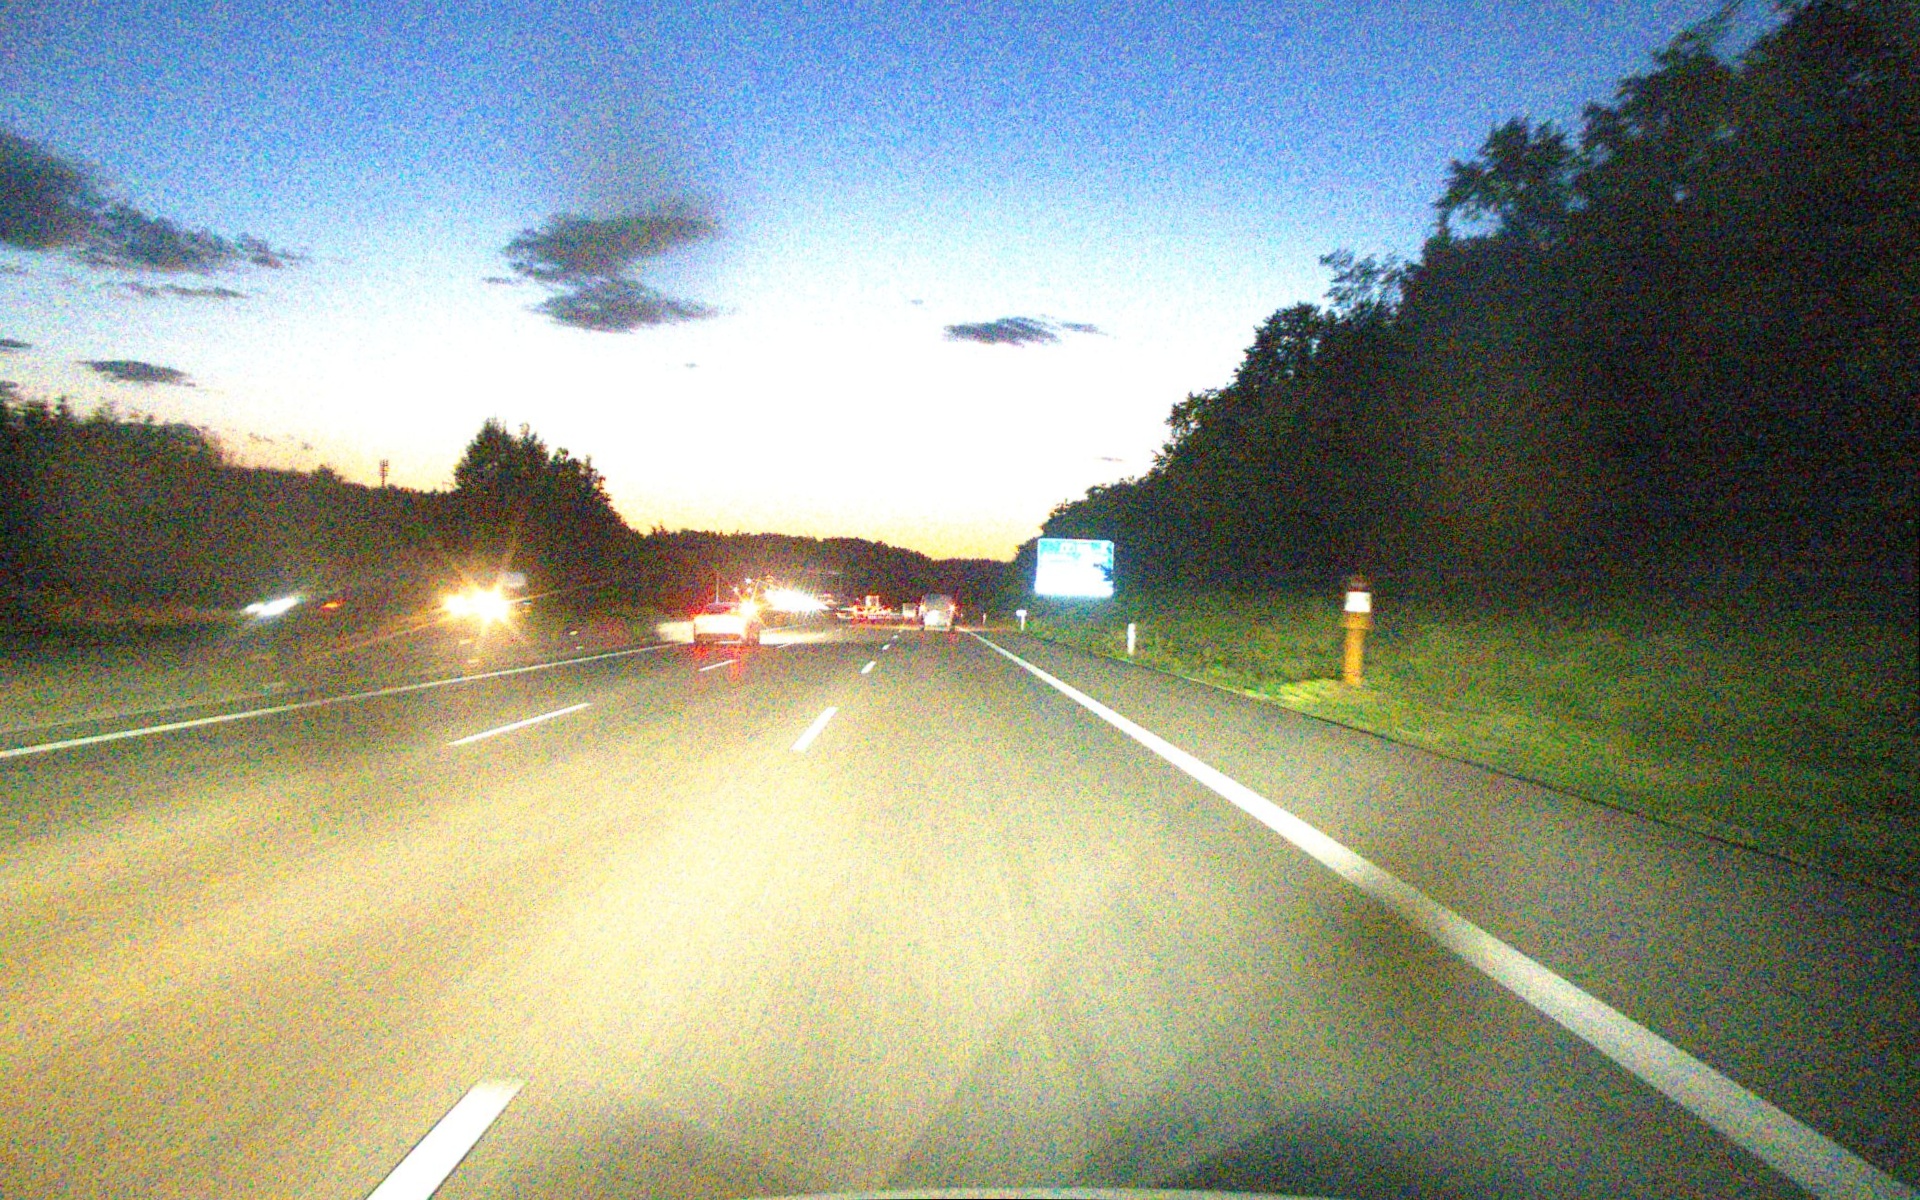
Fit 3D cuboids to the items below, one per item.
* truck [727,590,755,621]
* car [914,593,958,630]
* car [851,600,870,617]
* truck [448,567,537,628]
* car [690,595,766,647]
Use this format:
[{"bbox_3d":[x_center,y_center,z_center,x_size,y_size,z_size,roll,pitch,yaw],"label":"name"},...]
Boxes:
[{"bbox_3d":[-28.408,0.693,214.914,2.468,3.919,9.062,1,0,-1],"label":"truck"},{"bbox_3d":[-1.295,0.606,91.129,2.151,1.989,4.764,0,0,2],"label":"car"},{"bbox_3d":[-12.654,1.042,210.585,2.152,1.989,4.633,3,0,-1],"label":"car"},{"bbox_3d":[-23.140,-0.139,82.212,2.152,2.773,7.623,4,0,-1],"label":"truck"},{"bbox_3d":[-7.594,0.649,54.572,1.744,1.512,5.253,3,0,-1],"label":"car"}]
